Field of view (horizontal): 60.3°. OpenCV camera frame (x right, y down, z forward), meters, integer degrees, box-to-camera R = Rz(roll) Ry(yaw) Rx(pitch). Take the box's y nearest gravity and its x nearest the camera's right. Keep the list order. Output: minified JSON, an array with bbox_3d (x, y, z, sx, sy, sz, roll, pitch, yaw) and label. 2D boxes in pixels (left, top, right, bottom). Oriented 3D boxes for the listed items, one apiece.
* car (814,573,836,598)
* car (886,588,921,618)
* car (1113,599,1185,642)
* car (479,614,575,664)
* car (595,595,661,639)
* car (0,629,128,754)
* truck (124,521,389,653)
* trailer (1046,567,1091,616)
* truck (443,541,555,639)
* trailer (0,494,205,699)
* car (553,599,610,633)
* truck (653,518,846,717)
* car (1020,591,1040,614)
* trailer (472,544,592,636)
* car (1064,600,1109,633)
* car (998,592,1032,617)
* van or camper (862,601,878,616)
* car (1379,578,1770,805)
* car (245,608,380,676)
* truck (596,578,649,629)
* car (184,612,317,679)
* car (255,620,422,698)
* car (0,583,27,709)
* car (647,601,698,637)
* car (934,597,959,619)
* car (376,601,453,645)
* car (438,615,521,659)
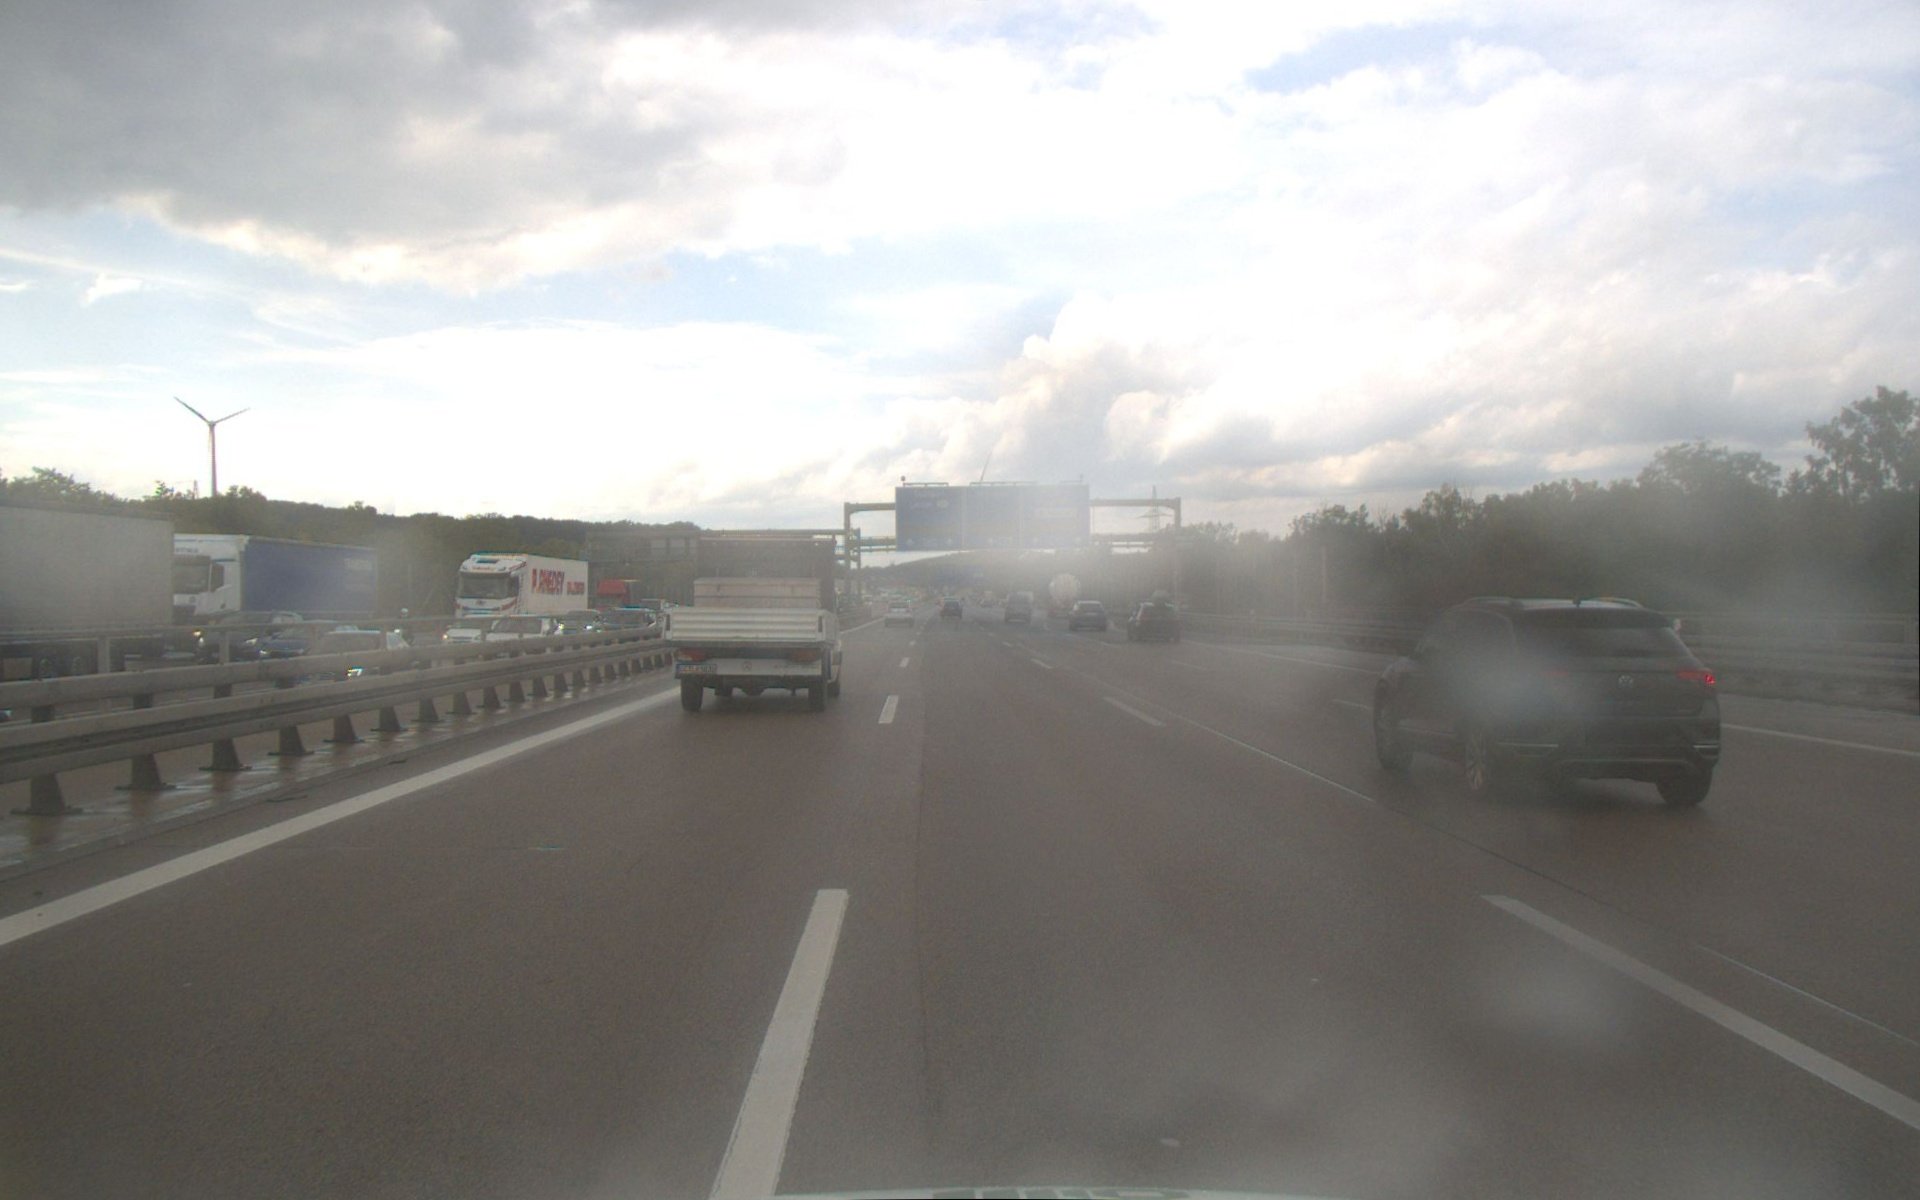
[{"bbox_3d":[-18.475,-1.944,226.949,2.447,3.358,7.626,1,0,0],"label":"car"},{"bbox_3d":[-3.354,0.161,98.653,2.003,1.729,4.000,0,0,-1],"label":"car"},{"bbox_3d":[7.611,0.786,67.010,2.063,1.634,5.062,0,0,-4],"label":"car"},{"bbox_3d":[-12.867,1.131,49.420,1.685,1.377,4.625,-1,0,-1],"label":"car"},{"bbox_3d":[-13.116,0.644,65.596,1.755,1.647,4.283,-1,0,0],"label":"car"},{"bbox_3d":[-11.936,1.098,20.077,1.685,1.377,3.999,-1,0,-1],"label":"car"},{"bbox_3d":[-25.026,-0.474,60.534,2.594,4.091,17.742,0,0,-2],"label":"truck"},{"bbox_3d":[9.757,-0.725,149.861,3.265,4.249,11.837,1,0,0],"label":"trailer"},{"bbox_3d":[-21.042,-0.462,75.953,3.113,4.267,7.736,0,0,-1],"label":"truck"},{"bbox_3d":[-20.324,-0.095,34.591,3.178,4.002,13.013,1,0,-1],"label":"trailer"},{"bbox_3d":[-17.531,0.721,76.821,1.612,1.529,4.676,-1,0,0],"label":"car"},{"bbox_3d":[-2.873,0.204,24.316,2.306,2.450,7.353,1,0,-4],"label":"truck"},{"bbox_3d":[7.881,0.223,186.279,2.003,2.541,4.000,0,0,-1],"label":"car"},{"bbox_3d":[-21.179,-0.522,82.681,3.122,4.267,11.954,0,0,-1],"label":"trailer"},{"bbox_3d":[6.956,0.875,91.588,2.004,1.729,5.005,0,0,-1],"label":"car"},{"bbox_3d":[3.899,0.331,118.688,2.056,1.729,3.997,0,0,-4],"label":"car"},{"bbox_3d":[-13.193,1.221,241.940,2.052,2.224,4.970,1,0,0],"label":"van or camper"},{"bbox_3d":[4.841,0.657,13.609,1.756,1.590,3.720,1,0,-2],"label":"car"},{"bbox_3d":[-17.047,1.067,43.769,1.784,1.652,4.697,0,0,-1],"label":"car"},{"bbox_3d":[-24.783,0.195,121.624,2.414,3.598,7.805,0,0,-1],"label":"truck"},{"bbox_3d":[-20.684,1.289,48.436,1.928,1.778,4.574,0,0,0],"label":"car"},{"bbox_3d":[-12.387,1.134,33.256,1.685,1.377,4.534,-1,0,-1],"label":"car"},{"bbox_3d":[-16.825,0.773,25.439,1.784,2.088,5.674,0,0,-1],"label":"car"},{"bbox_3d":[-13.618,0.872,78.473,1.755,1.647,4.000,-1,0,0],"label":"car"},{"bbox_3d":[-1.107,0.647,135.911,2.003,1.729,4.000,0,0,-1],"label":"car"},{"bbox_3d":[-20.832,0.854,63.322,1.612,1.573,4.000,0,0,0],"label":"car"},{"bbox_3d":[-17.358,1.355,59.956,1.612,1.537,4.859,0,-2,0],"label":"car"}]
